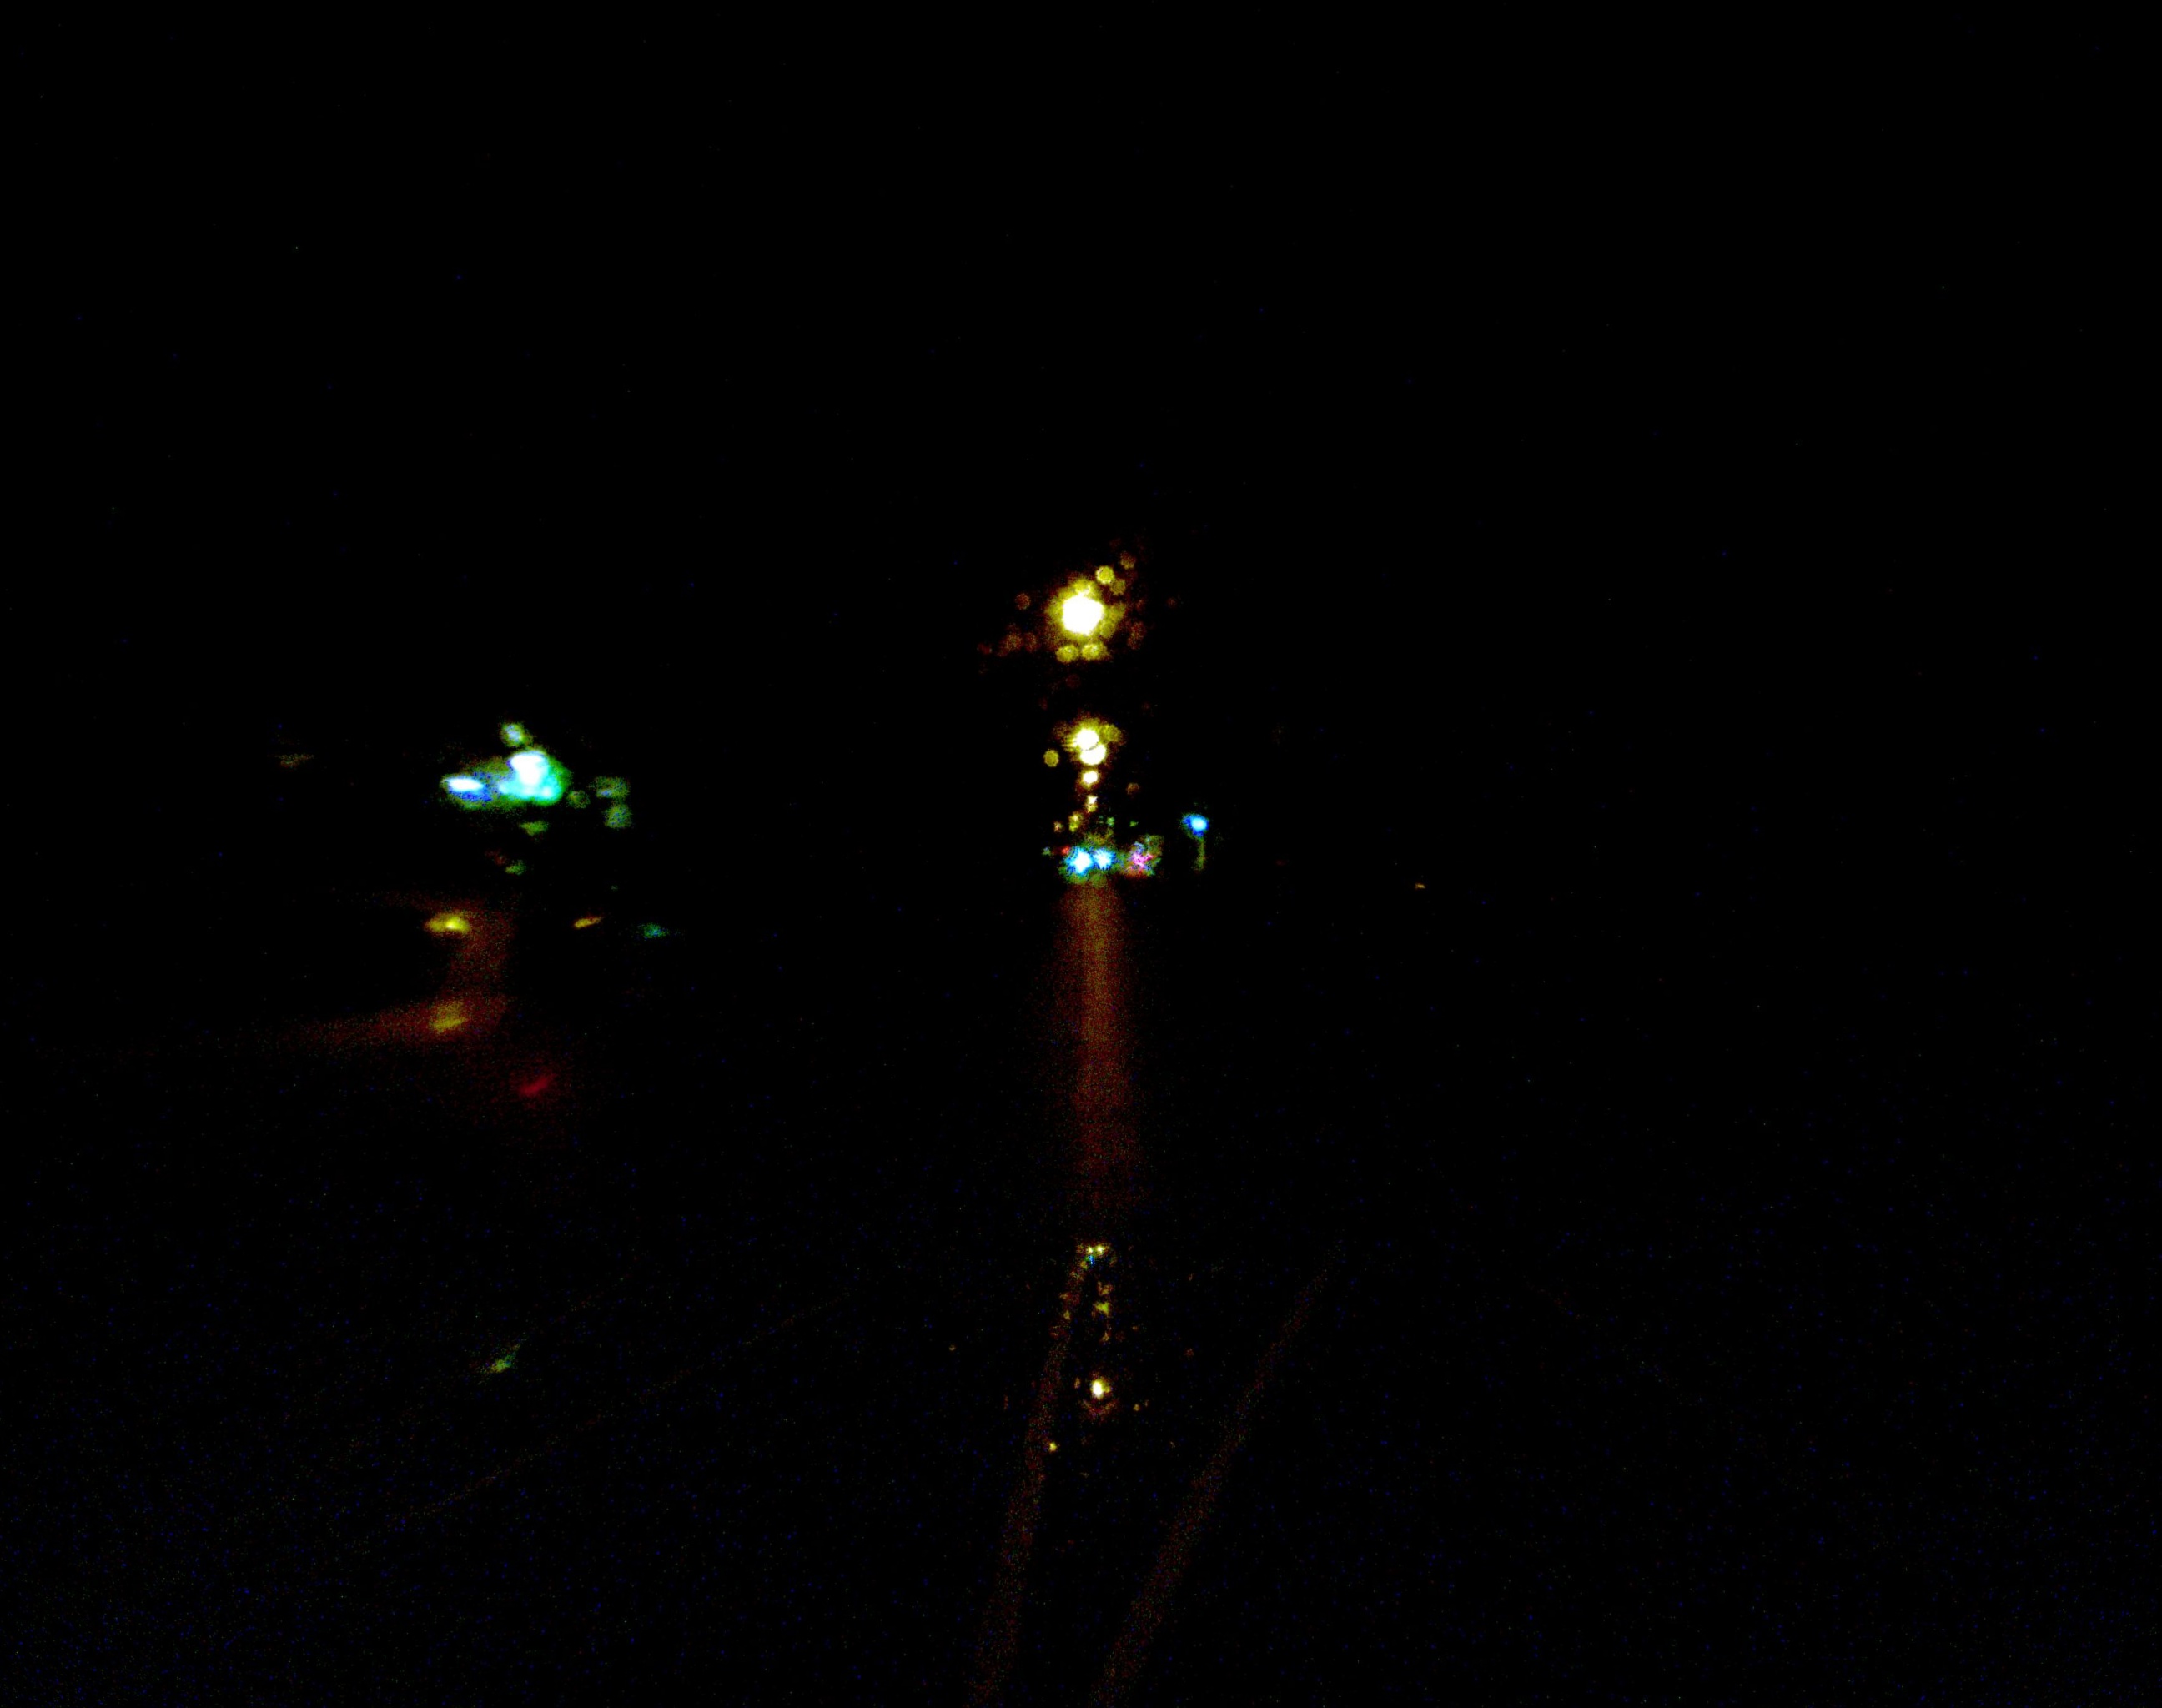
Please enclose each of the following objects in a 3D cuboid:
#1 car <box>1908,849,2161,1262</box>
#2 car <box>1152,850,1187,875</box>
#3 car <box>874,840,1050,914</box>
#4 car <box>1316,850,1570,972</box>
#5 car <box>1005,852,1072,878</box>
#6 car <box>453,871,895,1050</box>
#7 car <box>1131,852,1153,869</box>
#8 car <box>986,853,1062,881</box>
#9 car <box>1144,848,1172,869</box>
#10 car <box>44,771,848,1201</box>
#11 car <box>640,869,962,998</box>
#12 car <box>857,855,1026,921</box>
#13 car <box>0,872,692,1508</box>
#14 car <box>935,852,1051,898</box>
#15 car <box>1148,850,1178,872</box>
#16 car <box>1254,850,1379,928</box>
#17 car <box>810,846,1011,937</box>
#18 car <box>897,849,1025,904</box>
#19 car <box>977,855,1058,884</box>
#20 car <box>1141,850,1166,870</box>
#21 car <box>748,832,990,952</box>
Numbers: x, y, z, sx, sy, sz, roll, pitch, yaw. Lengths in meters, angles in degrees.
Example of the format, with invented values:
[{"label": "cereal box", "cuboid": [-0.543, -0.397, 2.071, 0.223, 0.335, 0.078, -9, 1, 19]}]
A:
[{"label": "car", "cuboid": [4.779, 0.728, 1.061, 1.851, 1.470, 5.031, -1, 0, 1]}, {"label": "car", "cuboid": [5.772, 0.529, 49.821, 1.851, 1.470, 3.735, -2, 0, 1]}, {"label": "car", "cuboid": [-3.495, 0.646, 22.440, 4.719, 1.968, 1.975, 1, 0, -28]}, {"label": "car", "cuboid": [5.120, 0.693, 11.469, 1.721, 1.470, 4.159, -1, 0, -2]}, {"label": "car", "cuboid": [-2.728, 0.699, 48.505, 3.939, 1.553, 1.707, 1, 0, -22]}, {"label": "car", "cuboid": [-4.029, 0.925, 7.960, 3.712, 1.444, 1.654, 1, 0, -31]}, {"label": "car", "cuboid": [5.936, 0.638, 74.725, 1.851, 1.571, 3.735, -2, 0, 1]}, {"label": "car", "cuboid": [-3.221, 0.737, 43.123, 3.939, 1.553, 1.707, 1, 0, -22]}, {"label": "car", "cuboid": [6.222, 0.354, 61.607, 1.851, 1.571, 3.735, -2, 0, 1]}, {"label": "car", "cuboid": [-3.774, 0.640, 5.313, 3.747, 2.017, 1.717, 1, 0, -34]}, {"label": "car", "cuboid": [-3.938, 0.989, 10.944, 4.064, 1.444, 1.674, -1, 0, -34]}, {"label": "car", "cuboid": [-3.582, 0.833, 19.738, 3.941, 1.541, 1.739, 1, 0, -33]}, {"label": "car", "cuboid": [-3.620, 0.882, 2.560, 4.078, 1.588, 1.830, 1, 0, -27]}, {"label": "car", "cuboid": [-3.255, 0.755, 28.077, 3.938, 1.610, 1.707, 1, 0, -21]}, {"label": "car", "cuboid": [5.972, 0.483, 55.679, 1.851, 1.470, 3.735, -2, 0, 1]}, {"label": "car", "cuboid": [5.034, 0.675, 16.766, 1.720, 1.470, 3.786, -2, 0, 3]}, {"label": "car", "cuboid": [-3.695, 0.762, 16.740, 3.942, 1.782, 1.738, 1, 0, -36]}, {"label": "car", "cuboid": [-4.004, 0.730, 25.386, 3.938, 1.732, 1.707, 1, 0, -21]}, {"label": "car", "cuboid": [-3.338, 0.818, 39.892, 3.939, 1.455, 1.707, 1, 0, -22]}, {"label": "car", "cuboid": [6.383, 0.507, 66.988, 1.851, 1.571, 3.735, -2, 0, 1]}, {"label": "car", "cuboid": [-3.853, 0.637, 14.083, 3.942, 1.931, 1.738, 1, 0, -36]}]
